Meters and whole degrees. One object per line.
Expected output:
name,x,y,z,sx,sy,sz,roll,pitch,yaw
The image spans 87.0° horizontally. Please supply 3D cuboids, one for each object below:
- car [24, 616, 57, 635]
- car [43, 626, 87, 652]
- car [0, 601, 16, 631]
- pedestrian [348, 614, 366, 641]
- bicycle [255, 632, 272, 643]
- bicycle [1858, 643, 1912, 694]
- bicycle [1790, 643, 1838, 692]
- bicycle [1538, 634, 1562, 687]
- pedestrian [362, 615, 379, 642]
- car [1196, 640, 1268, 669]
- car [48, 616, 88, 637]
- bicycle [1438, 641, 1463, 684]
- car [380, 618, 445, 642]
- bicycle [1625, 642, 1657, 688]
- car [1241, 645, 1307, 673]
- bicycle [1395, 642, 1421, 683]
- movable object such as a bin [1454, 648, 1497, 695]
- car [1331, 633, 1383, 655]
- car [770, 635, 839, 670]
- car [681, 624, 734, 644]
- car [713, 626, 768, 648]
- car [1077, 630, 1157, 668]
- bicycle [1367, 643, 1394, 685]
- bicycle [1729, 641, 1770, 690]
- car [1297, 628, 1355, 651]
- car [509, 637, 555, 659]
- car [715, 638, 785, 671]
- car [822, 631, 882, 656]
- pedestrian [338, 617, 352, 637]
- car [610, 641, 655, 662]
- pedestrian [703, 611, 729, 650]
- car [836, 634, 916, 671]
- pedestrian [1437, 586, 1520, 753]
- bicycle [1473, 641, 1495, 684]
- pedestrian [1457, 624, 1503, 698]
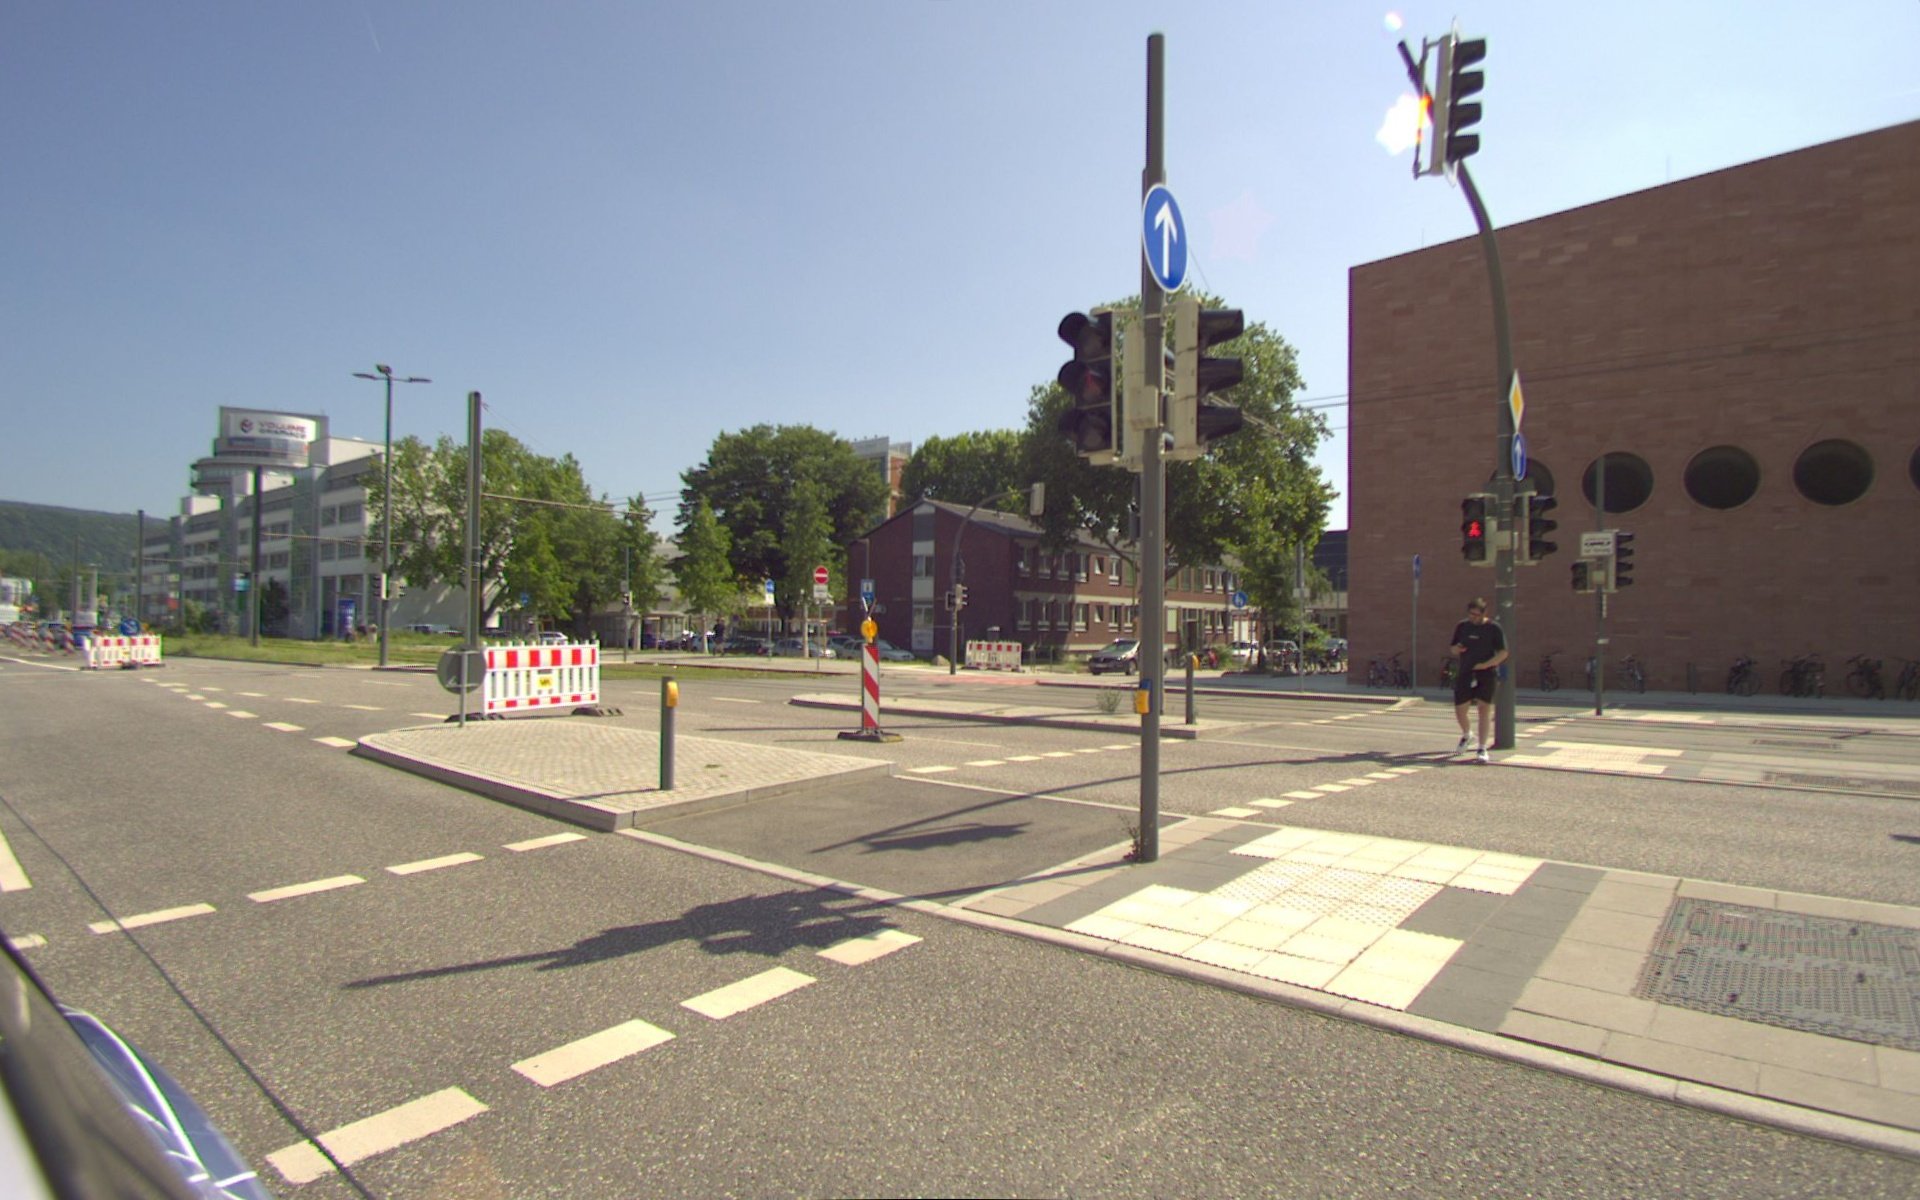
car,-77.970,2.140,85.833,4.469,1.454,1.655,-1,-4,43
car,-52.369,2.301,59.209,4.291,1.438,1.610,-2,-1,44
car,-92.259,1.499,96.876,5.984,2.761,2.055,-1,-4,42
pedestrian,-45.399,2.054,76.159,0.910,2.029,0.972,-1,-2,43
bicycle,-83.205,4.499,120.959,1.627,1.198,0.438,0,-1,-44
bicycle,23.503,1.711,25.752,0.537,1.221,2.037,-1,-2,29
bicycle,22.269,1.735,26.410,0.537,1.221,2.037,-1,-2,29
bicycle,17.058,1.733,29.291,0.537,1.464,2.037,-1,-2,29
pedestrian,-44.748,2.153,76.820,0.983,2.029,0.830,-2,-2,43
car,14.638,2.895,54.342,3.941,1.413,2.001,2,-1,-45
car,-62.226,1.850,70.602,4.295,1.427,1.563,-1,-3,42
bicycle,14.770,1.855,30.459,0.537,1.221,2.037,-1,-2,29
car,-50.247,2.756,92.981,4.988,2.196,2.121,1,-2,-23
bicycle,19.066,1.806,28.353,0.537,1.221,2.037,-1,-2,29
car,17.835,3.333,57.420,3.941,1.413,2.001,2,-1,-45
bicycle,13.839,1.912,31.258,0.537,1.221,2.037,-1,-2,29
movable object such as a bin,11.658,1.606,22.896,0.788,1.039,0.710,-1,-2,22
car,27.743,3.037,70.636,3.941,1.413,2.001,2,-1,-45
car,-8.788,2.931,56.907,3.938,1.774,1.680,0,-1,41
car,-18.306,2.455,73.321,4.264,1.468,1.522,-2,-2,41
car,-15.017,2.525,69.152,3.780,1.468,1.524,-1,-2,37
car,6.203,1.889,39.794,1.572,1.380,3.444,-2,-2,39
bicycle,13.161,1.978,31.644,0.537,1.221,2.037,-1,-2,29
bicycle,21.054,1.730,27.023,0.537,1.221,2.037,-1,-2,29
car,23.576,2.541,65.165,3.941,1.413,2.001,2,-1,-45
car,-33.808,3.773,79.882,3.630,1.603,1.752,-1,-1,36
car,-12.546,3.237,60.292,4.528,1.774,1.680,0,-1,41
car,-6.699,2.687,62.700,3.785,1.468,1.522,-2,-2,41
pedestrian,-48.856,2.153,80.399,0.805,1.588,0.827,1,-2,-45
car,-27.104,4.241,83.733,3.630,1.603,1.752,-1,-1,36
pedestrian,-11.879,1.499,49.233,0.802,1.861,1.108,2,-2,-44
car,-4.432,2.712,53.263,4.298,1.774,1.680,0,-1,41
pedestrian,5.985,0.777,11.687,0.661,1.847,0.645,-2,-2,45
bicycle,15.557,1.840,30.032,0.537,1.221,2.038,-1,-2,28
pedestrian,11.355,1.308,22.121,0.788,1.574,0.925,-1,-2,22
